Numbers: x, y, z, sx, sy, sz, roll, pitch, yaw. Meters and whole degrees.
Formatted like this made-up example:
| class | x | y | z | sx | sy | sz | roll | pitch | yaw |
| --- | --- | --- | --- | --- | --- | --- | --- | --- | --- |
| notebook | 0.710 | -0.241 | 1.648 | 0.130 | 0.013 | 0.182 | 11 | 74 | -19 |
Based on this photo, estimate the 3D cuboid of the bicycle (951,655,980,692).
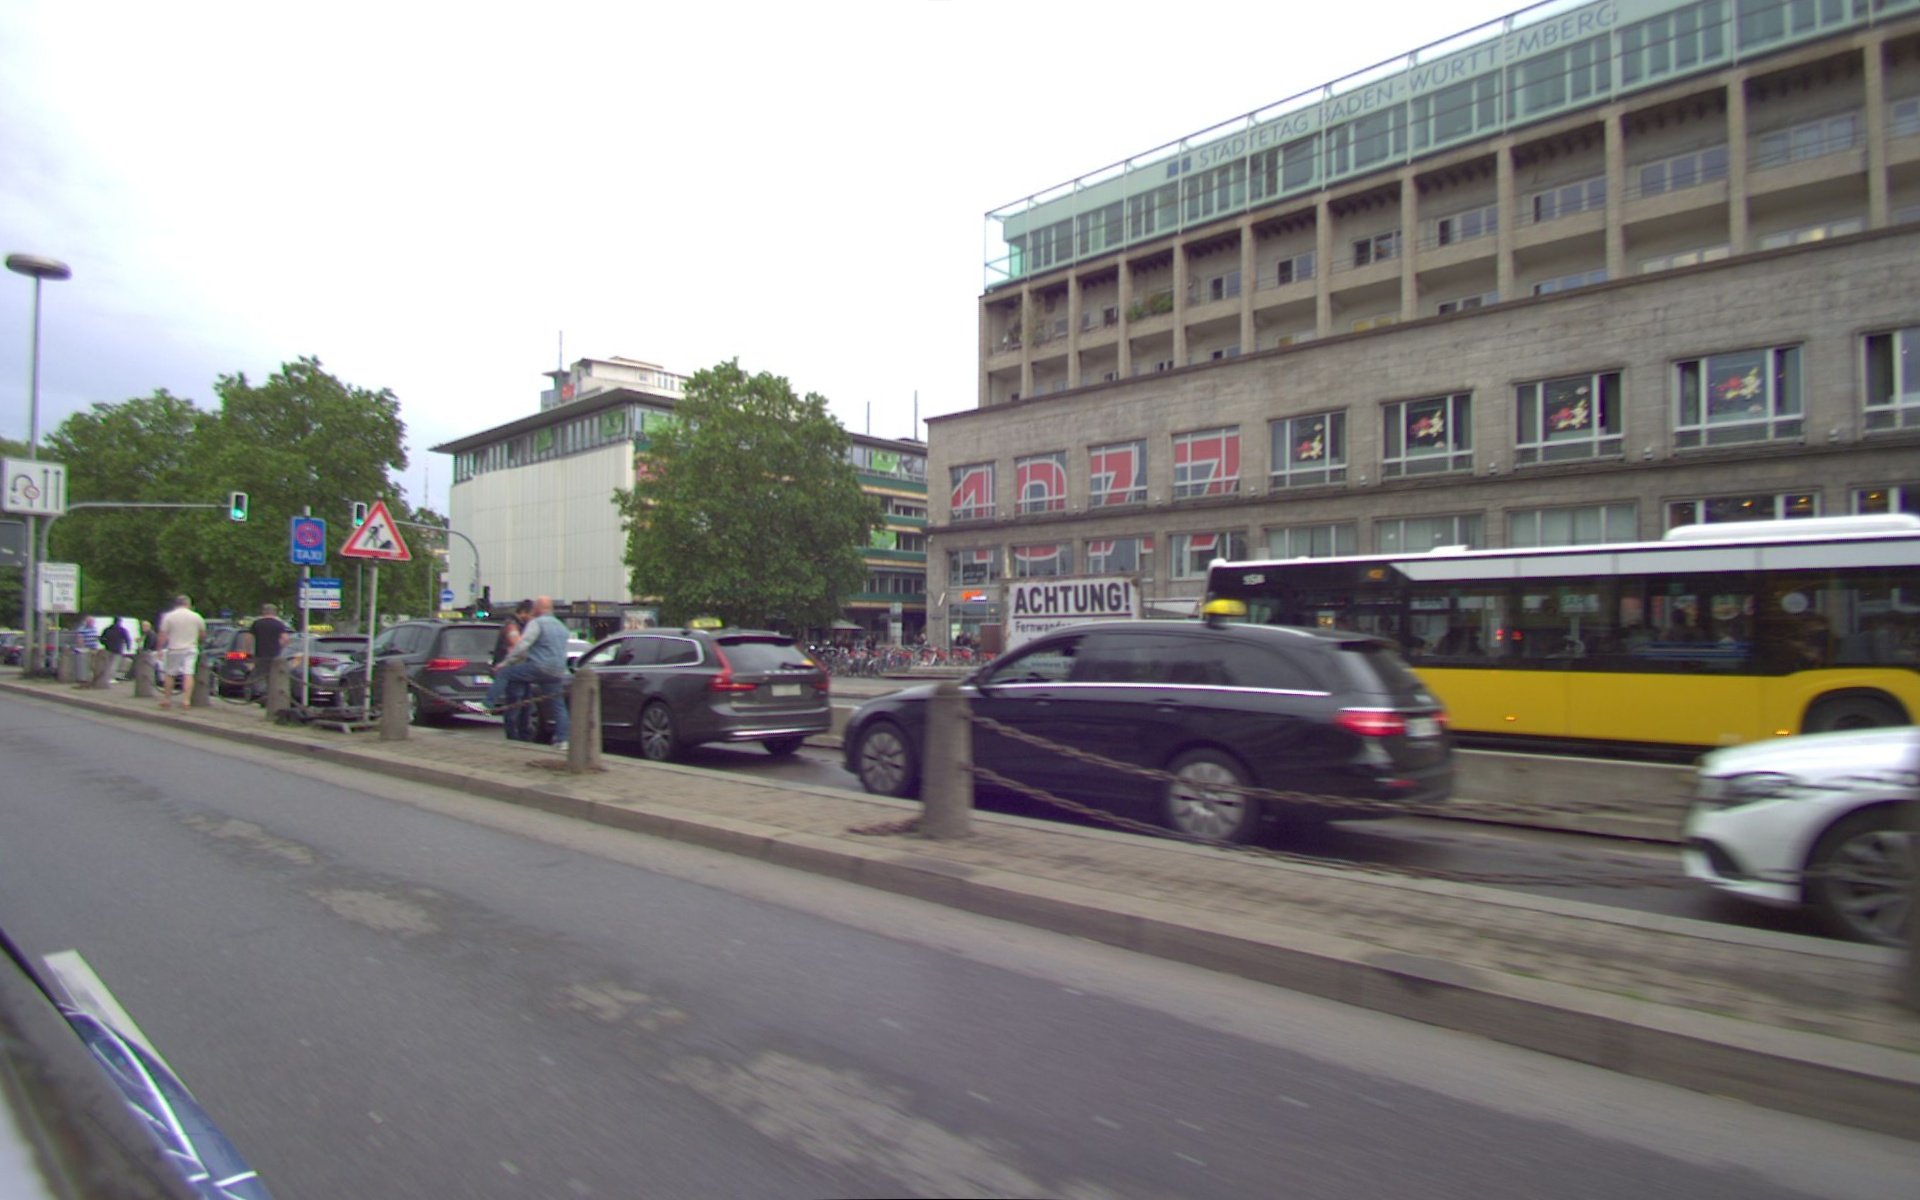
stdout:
| class | x | y | z | sx | sy | sz | roll | pitch | yaw |
| --- | --- | --- | --- | --- | --- | --- | --- | --- | --- |
| bicycle | 0.225 | 3.031 | 41.737 | 0.512 | 1.445 | 1.474 | -3 | -2 | 30 |

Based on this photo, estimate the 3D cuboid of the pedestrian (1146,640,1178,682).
| class | x | y | z | sx | sy | sz | roll | pitch | yaw |
| --- | --- | --- | --- | --- | --- | --- | --- | --- | --- |
| pedestrian | 5.524 | 1.662 | 27.636 | 0.694 | 1.118 | 0.624 | -2 | -2 | 28 |

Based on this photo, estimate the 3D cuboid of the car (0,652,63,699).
| class | x | y | z | sx | sy | sz | roll | pitch | yaw |
| --- | --- | --- | --- | --- | --- | --- | --- | --- | --- |
| car | -41.350 | 3.325 | 44.692 | 4.518 | 1.912 | 1.884 | -4 | -3 | 39 |

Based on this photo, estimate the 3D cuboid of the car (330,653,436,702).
| class | x | y | z | sx | sy | sz | roll | pitch | yaw |
| --- | --- | --- | --- | --- | --- | --- | --- | --- | --- |
| car | -21.161 | 2.796 | 37.042 | 4.679 | 1.703 | 1.909 | -3 | -5 | 41 |

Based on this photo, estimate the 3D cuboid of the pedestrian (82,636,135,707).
| class | x | y | z | sx | sy | sz | roll | pitch | yaw |
| --- | --- | --- | --- | --- | --- | --- | --- | --- | --- |
| pedestrian | -21.993 | 1.847 | 26.147 | 0.604 | 1.789 | 0.776 | -2 | -6 | 29 |

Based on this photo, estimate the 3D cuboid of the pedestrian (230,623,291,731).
| class | x | y | z | sx | sy | sz | roll | pitch | yaw |
| --- | --- | --- | --- | --- | --- | --- | --- | --- | --- |
| pedestrian | -11.882 | 1.294 | 17.195 | 0.711 | 1.768 | 0.691 | -4 | -4 | 41 |

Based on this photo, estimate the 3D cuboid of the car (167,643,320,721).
| class | x | y | z | sx | sy | sz | roll | pitch | yaw |
| --- | --- | --- | --- | --- | --- | --- | --- | --- | --- |
| car | -17.334 | 1.917 | 24.399 | 4.679 | 1.703 | 1.909 | -3 | -5 | 41 |

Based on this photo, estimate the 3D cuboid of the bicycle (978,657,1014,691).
| class | x | y | z | sx | sy | sz | roll | pitch | yaw |
| --- | --- | --- | --- | --- | --- | --- | --- | --- | --- |
| bicycle | 1.465 | 2.974 | 40.910 | 0.677 | 1.335 | 1.715 | -3 | -3 | 32 |

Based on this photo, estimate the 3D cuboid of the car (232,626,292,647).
| class | x | y | z | sx | sy | sz | roll | pitch | yaw |
| --- | --- | --- | --- | --- | --- | --- | --- | --- | --- |
| car | -72.595 | 3.772 | 105.289 | 2.036 | 2.029 | 4.765 | -4 | -3 | 43 |

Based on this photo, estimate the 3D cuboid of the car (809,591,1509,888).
| class | x | y | z | sx | sy | sz | roll | pitch | yaw |
| --- | --- | --- | --- | --- | --- | --- | --- | --- | --- |
| car | 1.218 | 0.882 | 7.813 | 5.009 | 1.589 | 1.909 | -3 | -5 | 41 |

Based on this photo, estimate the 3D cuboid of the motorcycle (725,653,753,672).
| class | x | y | z | sx | sy | sz | roll | pitch | yaw |
| --- | --- | --- | --- | --- | --- | --- | --- | --- | --- |
| motorcycle | -12.297 | 3.460 | 56.252 | 1.715 | 1.055 | 0.525 | -3 | -4 | 39 |

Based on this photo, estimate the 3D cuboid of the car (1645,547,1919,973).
| class | x | y | z | sx | sy | sz | roll | pitch | yaw |
| --- | --- | --- | --- | --- | --- | --- | --- | --- | --- |
| car | 5.713 | 0.618 | 3.620 | 5.189 | 1.672 | 1.956 | -3 | -5 | 41 |

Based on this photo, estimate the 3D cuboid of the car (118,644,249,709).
| class | x | y | z | sx | sy | sz | roll | pitch | yaw |
| --- | --- | --- | --- | --- | --- | --- | --- | --- | --- |
| car | -21.582 | 2.096 | 28.058 | 4.840 | 1.633 | 1.993 | -4 | -4 | 42 |

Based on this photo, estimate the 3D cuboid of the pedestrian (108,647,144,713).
| class | x | y | z | sx | sy | sz | roll | pitch | yaw |
| --- | --- | --- | --- | --- | --- | --- | --- | --- | --- |
| pedestrian | -22.477 | 2.144 | 27.264 | 0.592 | 1.724 | 0.644 | -4 | -3 | 40 |

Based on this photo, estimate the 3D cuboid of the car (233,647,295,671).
| class | x | y | z | sx | sy | sz | roll | pitch | yaw |
| --- | --- | --- | --- | --- | --- | --- | --- | --- | --- |
| car | -56.814 | 4.809 | 82.670 | 3.683 | 1.554 | 1.857 | -3 | 1 | -12 |

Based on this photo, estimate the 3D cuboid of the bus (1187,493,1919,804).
| class | x | y | z | sx | sy | sz | roll | pitch | yaw |
| --- | --- | --- | --- | --- | --- | --- | --- | --- | --- |
| bus | 8.732 | 0.738 | 14.689 | 10.571 | 3.402 | 2.846 | -3 | -4 | 42 |

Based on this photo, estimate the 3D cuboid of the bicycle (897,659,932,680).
| class | x | y | z | sx | sy | sz | roll | pitch | yaw |
| --- | --- | --- | --- | --- | --- | --- | --- | --- | --- |
| bicycle | -1.966 | 2.995 | 43.727 | 1.376 | 0.857 | 0.673 | -3 | -2 | 30 |

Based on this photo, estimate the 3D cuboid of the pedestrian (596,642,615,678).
| class | x | y | z | sx | sy | sz | roll | pitch | yaw |
| --- | --- | --- | --- | --- | --- | --- | --- | --- | --- |
| pedestrian | -16.525 | 2.790 | 47.181 | 0.606 | 1.654 | 0.525 | -1 | -5 | 22 |

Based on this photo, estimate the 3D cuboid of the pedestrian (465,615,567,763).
| class | x | y | z | sx | sy | sz | roll | pitch | yaw |
| --- | --- | --- | --- | --- | --- | --- | --- | --- | --- |
| pedestrian | -5.160 | 1.011 | 11.760 | 0.995 | 1.619 | 0.715 | -4 | -3 | 41 |

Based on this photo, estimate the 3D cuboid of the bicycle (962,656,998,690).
| class | x | y | z | sx | sy | sz | roll | pitch | yaw |
| --- | --- | --- | --- | --- | --- | --- | --- | --- | --- |
| bicycle | 0.829 | 2.978 | 41.362 | 0.677 | 1.335 | 1.654 | -3 | -3 | 32 |

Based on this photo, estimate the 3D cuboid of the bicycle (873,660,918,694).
| class | x | y | z | sx | sy | sz | roll | pitch | yaw |
| --- | --- | --- | --- | --- | --- | --- | --- | --- | --- |
| bicycle | -2.512 | 2.990 | 39.480 | 0.595 | 1.190 | 2.071 | -3 | -2 | 34 |

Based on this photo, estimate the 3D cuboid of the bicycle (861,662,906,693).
| class | x | y | z | sx | sy | sz | roll | pitch | yaw |
| --- | --- | --- | --- | --- | --- | --- | --- | --- | --- |
| bicycle | -2.996 | 3.045 | 39.807 | 0.595 | 1.085 | 2.071 | -3 | -2 | 34 |

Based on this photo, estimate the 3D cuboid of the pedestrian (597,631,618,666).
| class | x | y | z | sx | sy | sz | roll | pitch | yaw |
| --- | --- | --- | --- | --- | --- | --- | --- | --- | --- |
| pedestrian | -16.318 | 2.237 | 46.806 | 0.747 | 1.584 | 0.472 | -1 | -5 | 23 |

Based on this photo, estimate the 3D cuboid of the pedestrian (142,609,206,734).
| class | x | y | z | sx | sy | sz | roll | pitch | yaw |
| --- | --- | --- | --- | --- | --- | --- | --- | --- | --- |
| pedestrian | -13.122 | 1.171 | 16.892 | 0.772 | 2.023 | 0.715 | -4 | -3 | 41 |

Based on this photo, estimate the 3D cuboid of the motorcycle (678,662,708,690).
| class | x | y | z | sx | sy | sz | roll | pitch | yaw |
| --- | --- | --- | --- | --- | --- | --- | --- | --- | --- |
| motorcycle | -11.680 | 3.311 | 44.235 | 0.574 | 1.181 | 1.625 | 0 | -3 | -43 |

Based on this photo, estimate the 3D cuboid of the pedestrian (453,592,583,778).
| class | x | y | z | sx | sy | sz | roll | pitch | yaw |
| --- | --- | --- | --- | --- | --- | --- | --- | --- | --- |
| pedestrian | -4.501 | 0.839 | 10.343 | 0.616 | 1.782 | 1.039 | -3 | -3 | 41 |

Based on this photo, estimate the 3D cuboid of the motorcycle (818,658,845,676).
| class | x | y | z | sx | sy | sz | roll | pitch | yaw |
| --- | --- | --- | --- | --- | --- | --- | --- | --- | --- |
| motorcycle | -7.713 | 4.037 | 60.785 | 1.715 | 1.055 | 0.525 | -3 | -4 | 39 |

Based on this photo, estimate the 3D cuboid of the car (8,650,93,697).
| class | x | y | z | sx | sy | sz | roll | pitch | yaw |
| --- | --- | --- | --- | --- | --- | --- | --- | --- | --- |
| car | -36.617 | 2.950 | 40.725 | 4.495 | 1.712 | 1.884 | -4 | -3 | 39 |

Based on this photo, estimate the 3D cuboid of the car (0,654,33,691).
| class | x | y | z | sx | sy | sz | roll | pitch | yaw |
| --- | --- | --- | --- | --- | --- | --- | --- | --- | --- |
| car | -46.131 | 3.499 | 48.576 | 4.478 | 1.735 | 1.766 | -4 | -5 | 39 |

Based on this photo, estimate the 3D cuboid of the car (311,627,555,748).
| class | x | y | z | sx | sy | sz | roll | pitch | yaw |
| --- | --- | --- | --- | --- | --- | --- | --- | --- | --- |
| car | -8.701 | 1.366 | 16.536 | 4.679 | 1.703 | 1.909 | -3 | -5 | 41 |

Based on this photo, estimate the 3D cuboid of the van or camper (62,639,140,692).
| class | x | y | z | sx | sy | sz | roll | pitch | yaw |
| --- | --- | --- | --- | --- | --- | --- | --- | --- | --- |
| van or camper | -43.340 | 3.335 | 51.011 | 5.365 | 2.534 | 1.973 | -3 | -7 | 40 |

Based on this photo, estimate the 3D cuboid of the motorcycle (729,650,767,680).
| class | x | y | z | sx | sy | sz | roll | pitch | yaw |
| --- | --- | --- | --- | --- | --- | --- | --- | --- | --- |
| motorcycle | -8.221 | 2.522 | 39.271 | 0.600 | 1.065 | 1.428 | -3 | -2 | 31 |

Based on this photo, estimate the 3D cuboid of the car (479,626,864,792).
| class | x | y | z | sx | sy | sz | roll | pitch | yaw |
| --- | --- | --- | --- | --- | --- | --- | --- | --- | --- |
| car | -3.668 | 1.195 | 12.233 | 5.258 | 1.589 | 1.909 | -3 | -5 | 41 |

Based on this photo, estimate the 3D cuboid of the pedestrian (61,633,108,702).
| class | x | y | z | sx | sy | sz | roll | pitch | yaw |
| --- | --- | --- | --- | --- | --- | --- | --- | --- | --- |
| pedestrian | -23.164 | 1.799 | 26.776 | 0.550 | 1.789 | 0.754 | 2 | -5 | -15 |

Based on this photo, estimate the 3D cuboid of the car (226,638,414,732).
| class | x | y | z | sx | sy | sz | roll | pitch | yaw |
| --- | --- | --- | --- | --- | --- | --- | --- | --- | --- |
| car | -13.029 | 1.662 | 20.484 | 4.679 | 1.703 | 1.909 | -3 | -5 | 41 |

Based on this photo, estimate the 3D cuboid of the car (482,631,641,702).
| class | x | y | z | sx | sy | sz | roll | pitch | yaw |
| --- | --- | --- | --- | --- | --- | --- | --- | --- | --- |
| car | -10.476 | 1.715 | 26.439 | 4.679 | 1.703 | 1.909 | -3 | -5 | 41 |

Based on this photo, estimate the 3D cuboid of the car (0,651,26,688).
| class | x | y | z | sx | sy | sz | roll | pitch | yaw |
| --- | --- | --- | --- | --- | --- | --- | --- | --- | --- |
| car | -50.877 | 3.651 | 53.176 | 4.560 | 1.866 | 1.896 | -3 | -5 | 38 |
